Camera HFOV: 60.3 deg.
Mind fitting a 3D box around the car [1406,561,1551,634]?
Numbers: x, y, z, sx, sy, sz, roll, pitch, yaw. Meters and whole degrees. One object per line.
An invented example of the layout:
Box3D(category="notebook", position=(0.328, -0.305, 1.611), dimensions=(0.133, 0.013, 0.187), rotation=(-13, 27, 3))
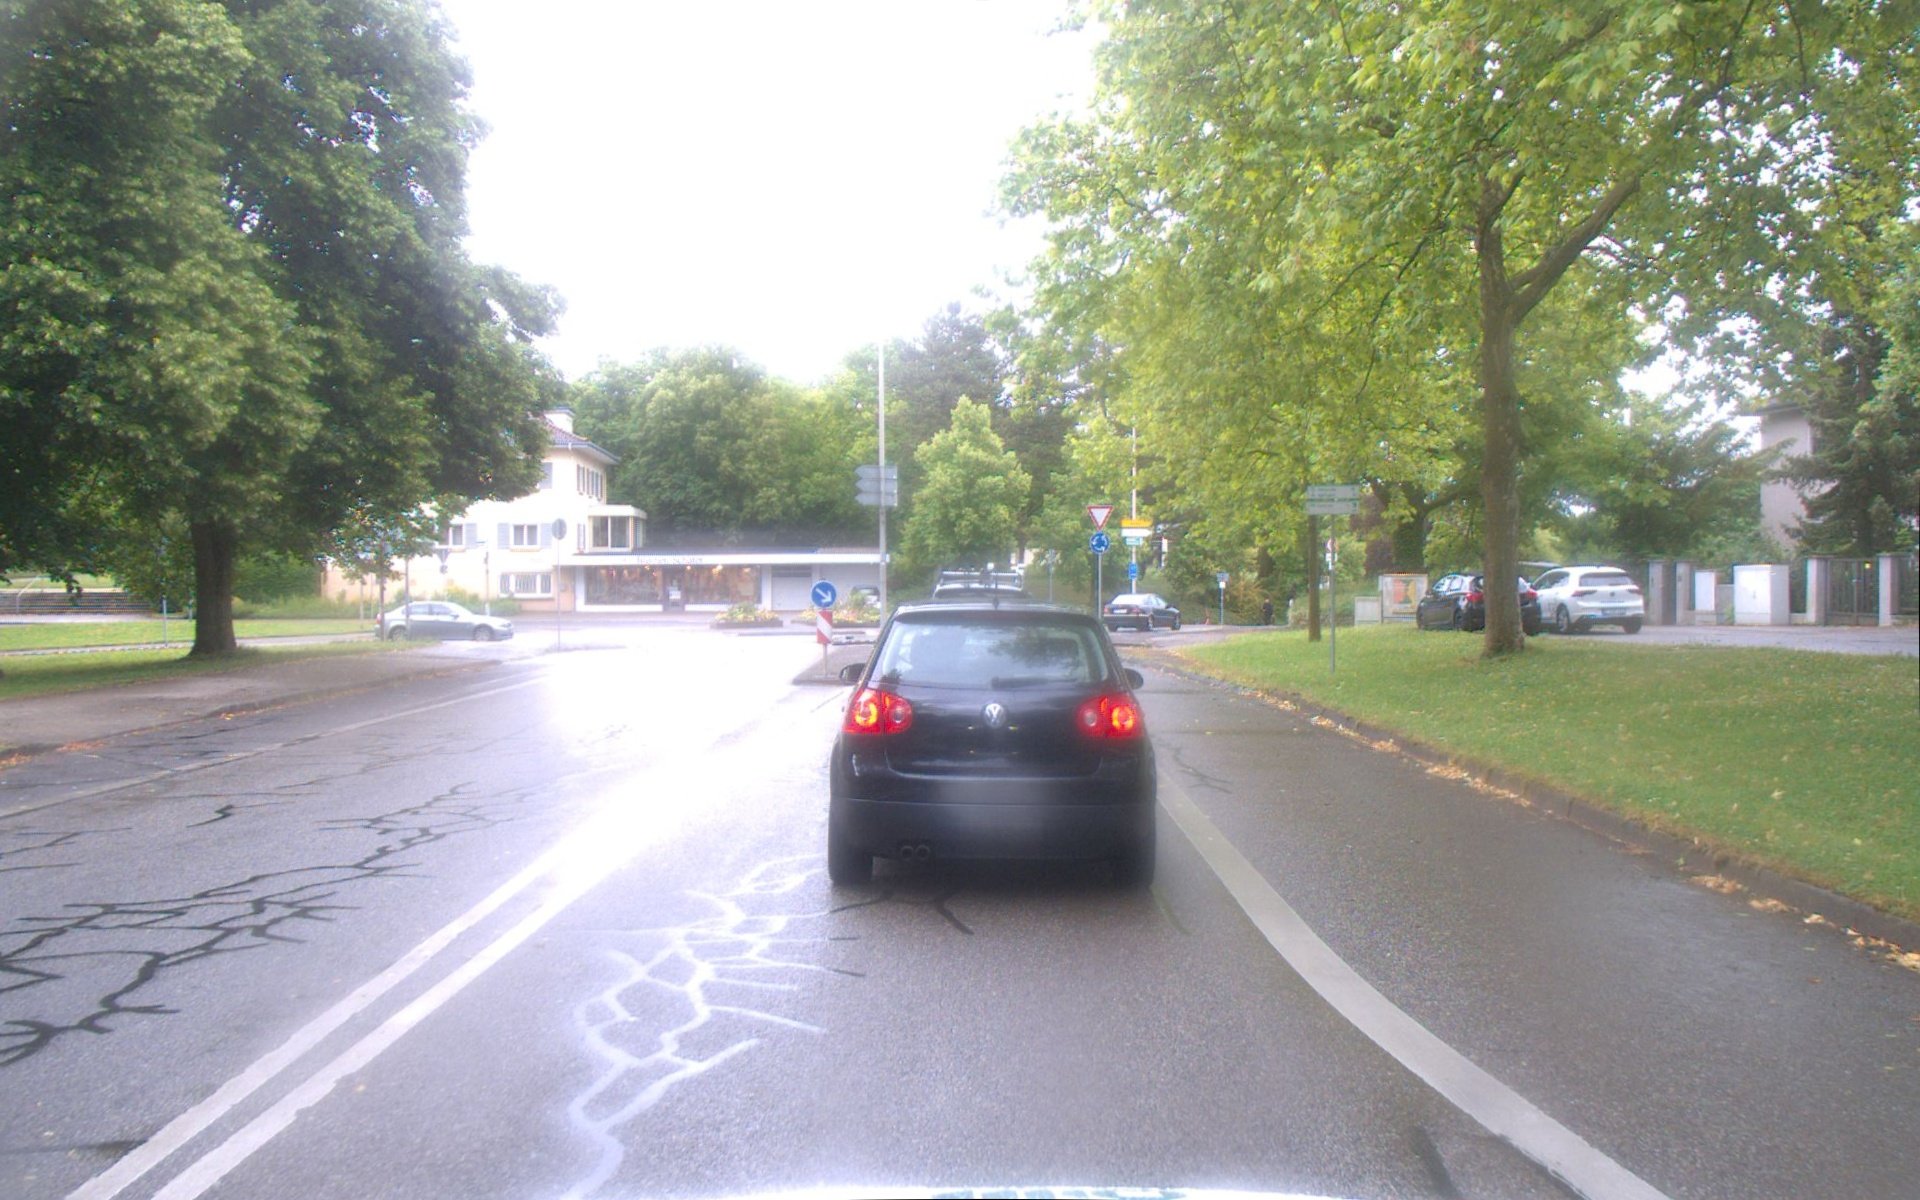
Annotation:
Box3D(category="car", position=(11.794, -0.053, 37.949), dimensions=(1.729, 1.497, 4.597), rotation=(-2, 0, -1))

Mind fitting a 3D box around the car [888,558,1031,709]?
Box3D(category="car", position=(-0.056, 0.420, 22.593), dimensions=(1.729, 1.833, 4.245), rotation=(-1, 0, -1))

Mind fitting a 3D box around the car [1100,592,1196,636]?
Box3D(category="car", position=(7.042, 0.522, 61.618), dimensions=(1.959, 1.557, 3.987), rotation=(1, 0, 34))

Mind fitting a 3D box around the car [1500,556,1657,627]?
Box3D(category="car", position=(14.196, -0.174, 38.248), dimensions=(1.808, 1.497, 4.424), rotation=(-2, 0, -2))

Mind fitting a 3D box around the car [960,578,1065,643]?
Box3D(category="car", position=(1.571, 0.303, 48.015), dimensions=(1.952, 1.772, 4.145), rotation=(1, 0, 18))

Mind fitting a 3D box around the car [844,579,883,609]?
Box3D(category="car", position=(-5.036, -0.315, 86.179), dimensions=(1.778, 1.512, 3.825), rotation=(-1, 1, -7))

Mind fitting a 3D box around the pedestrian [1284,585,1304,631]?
Box3D(category="pedestrian", position=(12.899, 0.319, 63.813), dimensions=(0.519, 1.743, 0.633), rotation=(1, 0, -14))

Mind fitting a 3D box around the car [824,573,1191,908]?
Box3D(category="car", position=(0.186, 0.677, 9.884), dimensions=(1.729, 1.565, 3.999), rotation=(1, 0, -1))

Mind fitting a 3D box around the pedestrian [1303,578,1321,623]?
Box3D(category="pedestrian", position=(13.725, 0.026, 64.490), dimensions=(0.620, 1.743, 0.530), rotation=(1, -1, 16))

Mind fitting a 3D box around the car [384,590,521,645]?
Box3D(category="car", position=(-16.753, 0.583, 54.744), dimensions=(3.941, 1.713, 1.998), rotation=(1, 0, -5))
